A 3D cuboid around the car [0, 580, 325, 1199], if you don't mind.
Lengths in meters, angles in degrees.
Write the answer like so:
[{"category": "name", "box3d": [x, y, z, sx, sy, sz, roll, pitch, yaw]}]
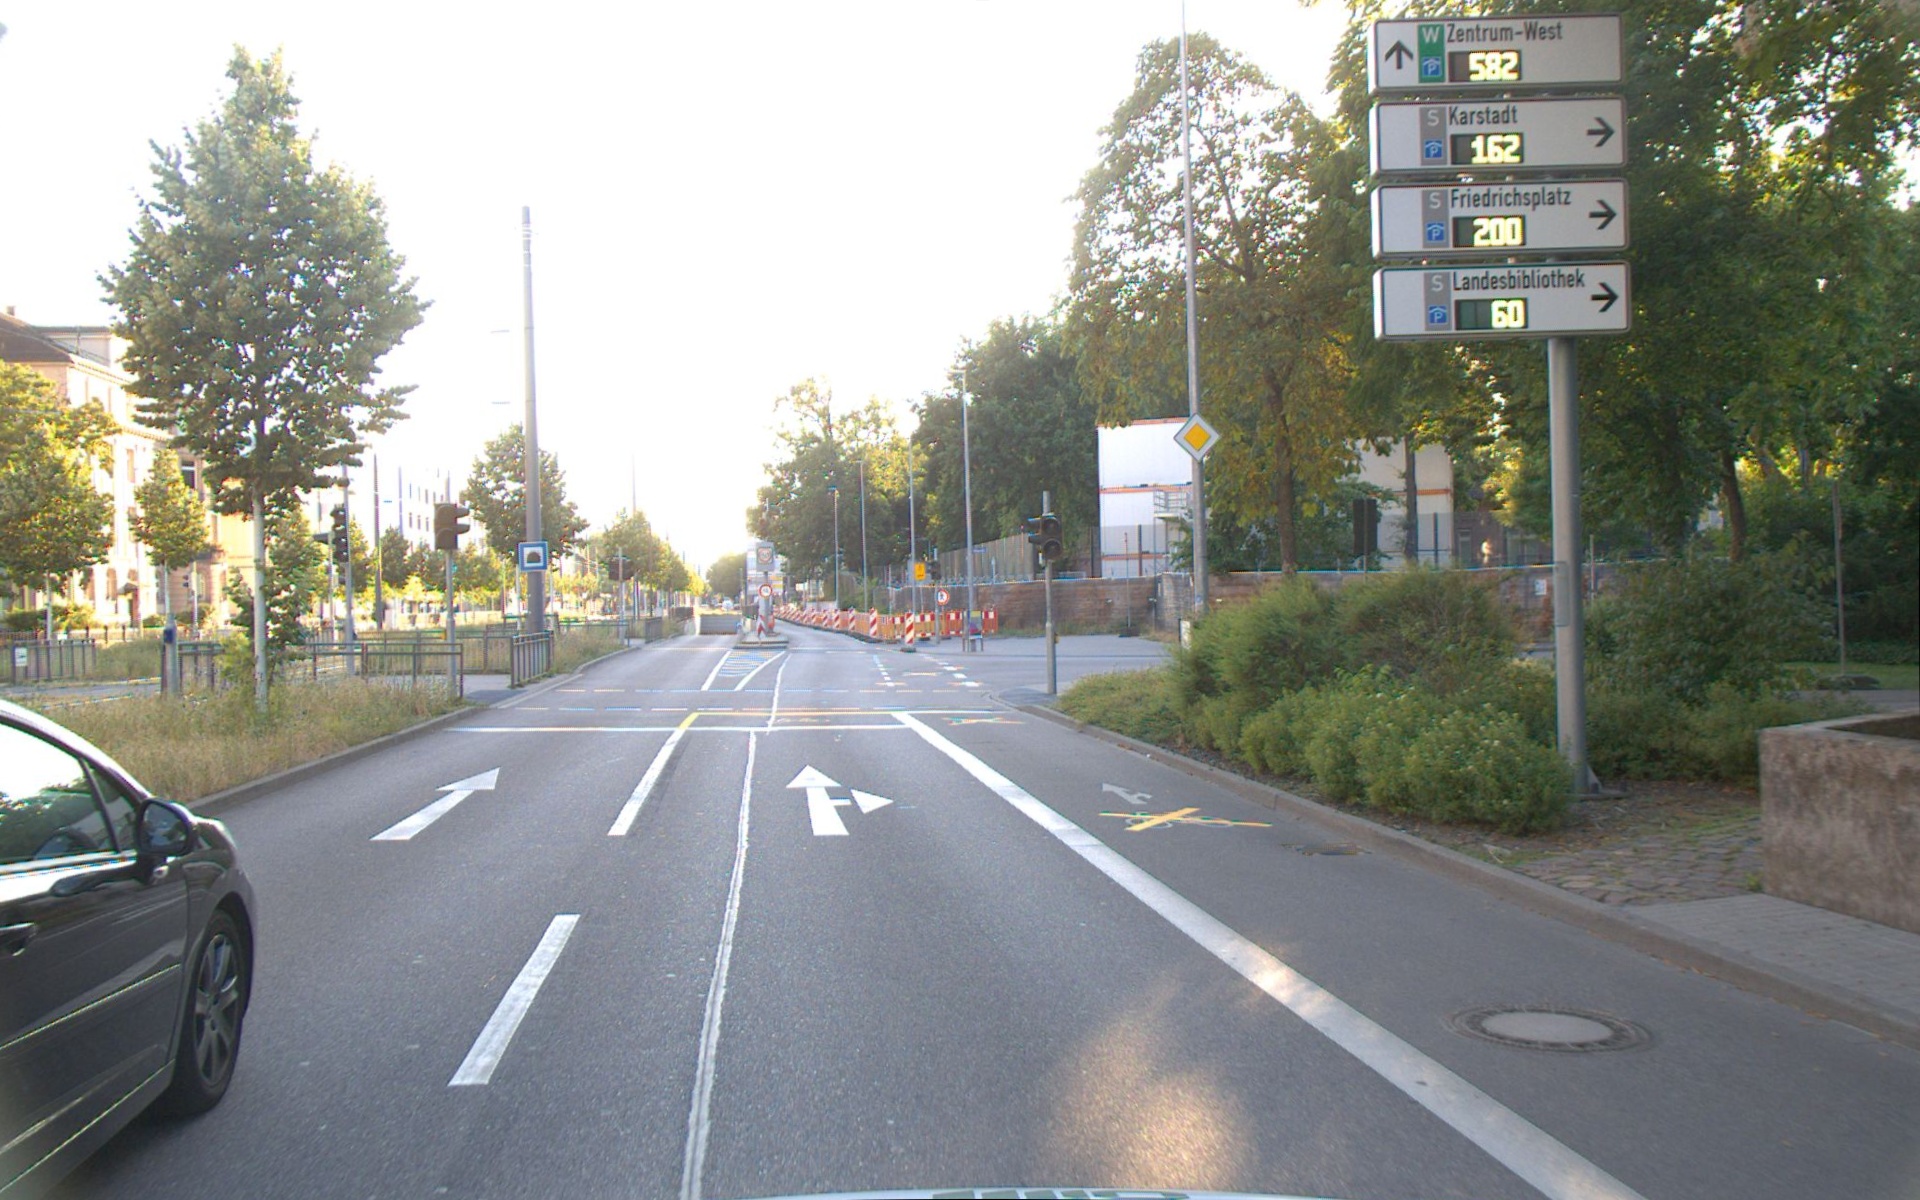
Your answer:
[{"category": "car", "box3d": [-2.787, 0.701, 3.615, 1.686, 1.475, 3.895, 0, 1, -7]}]
